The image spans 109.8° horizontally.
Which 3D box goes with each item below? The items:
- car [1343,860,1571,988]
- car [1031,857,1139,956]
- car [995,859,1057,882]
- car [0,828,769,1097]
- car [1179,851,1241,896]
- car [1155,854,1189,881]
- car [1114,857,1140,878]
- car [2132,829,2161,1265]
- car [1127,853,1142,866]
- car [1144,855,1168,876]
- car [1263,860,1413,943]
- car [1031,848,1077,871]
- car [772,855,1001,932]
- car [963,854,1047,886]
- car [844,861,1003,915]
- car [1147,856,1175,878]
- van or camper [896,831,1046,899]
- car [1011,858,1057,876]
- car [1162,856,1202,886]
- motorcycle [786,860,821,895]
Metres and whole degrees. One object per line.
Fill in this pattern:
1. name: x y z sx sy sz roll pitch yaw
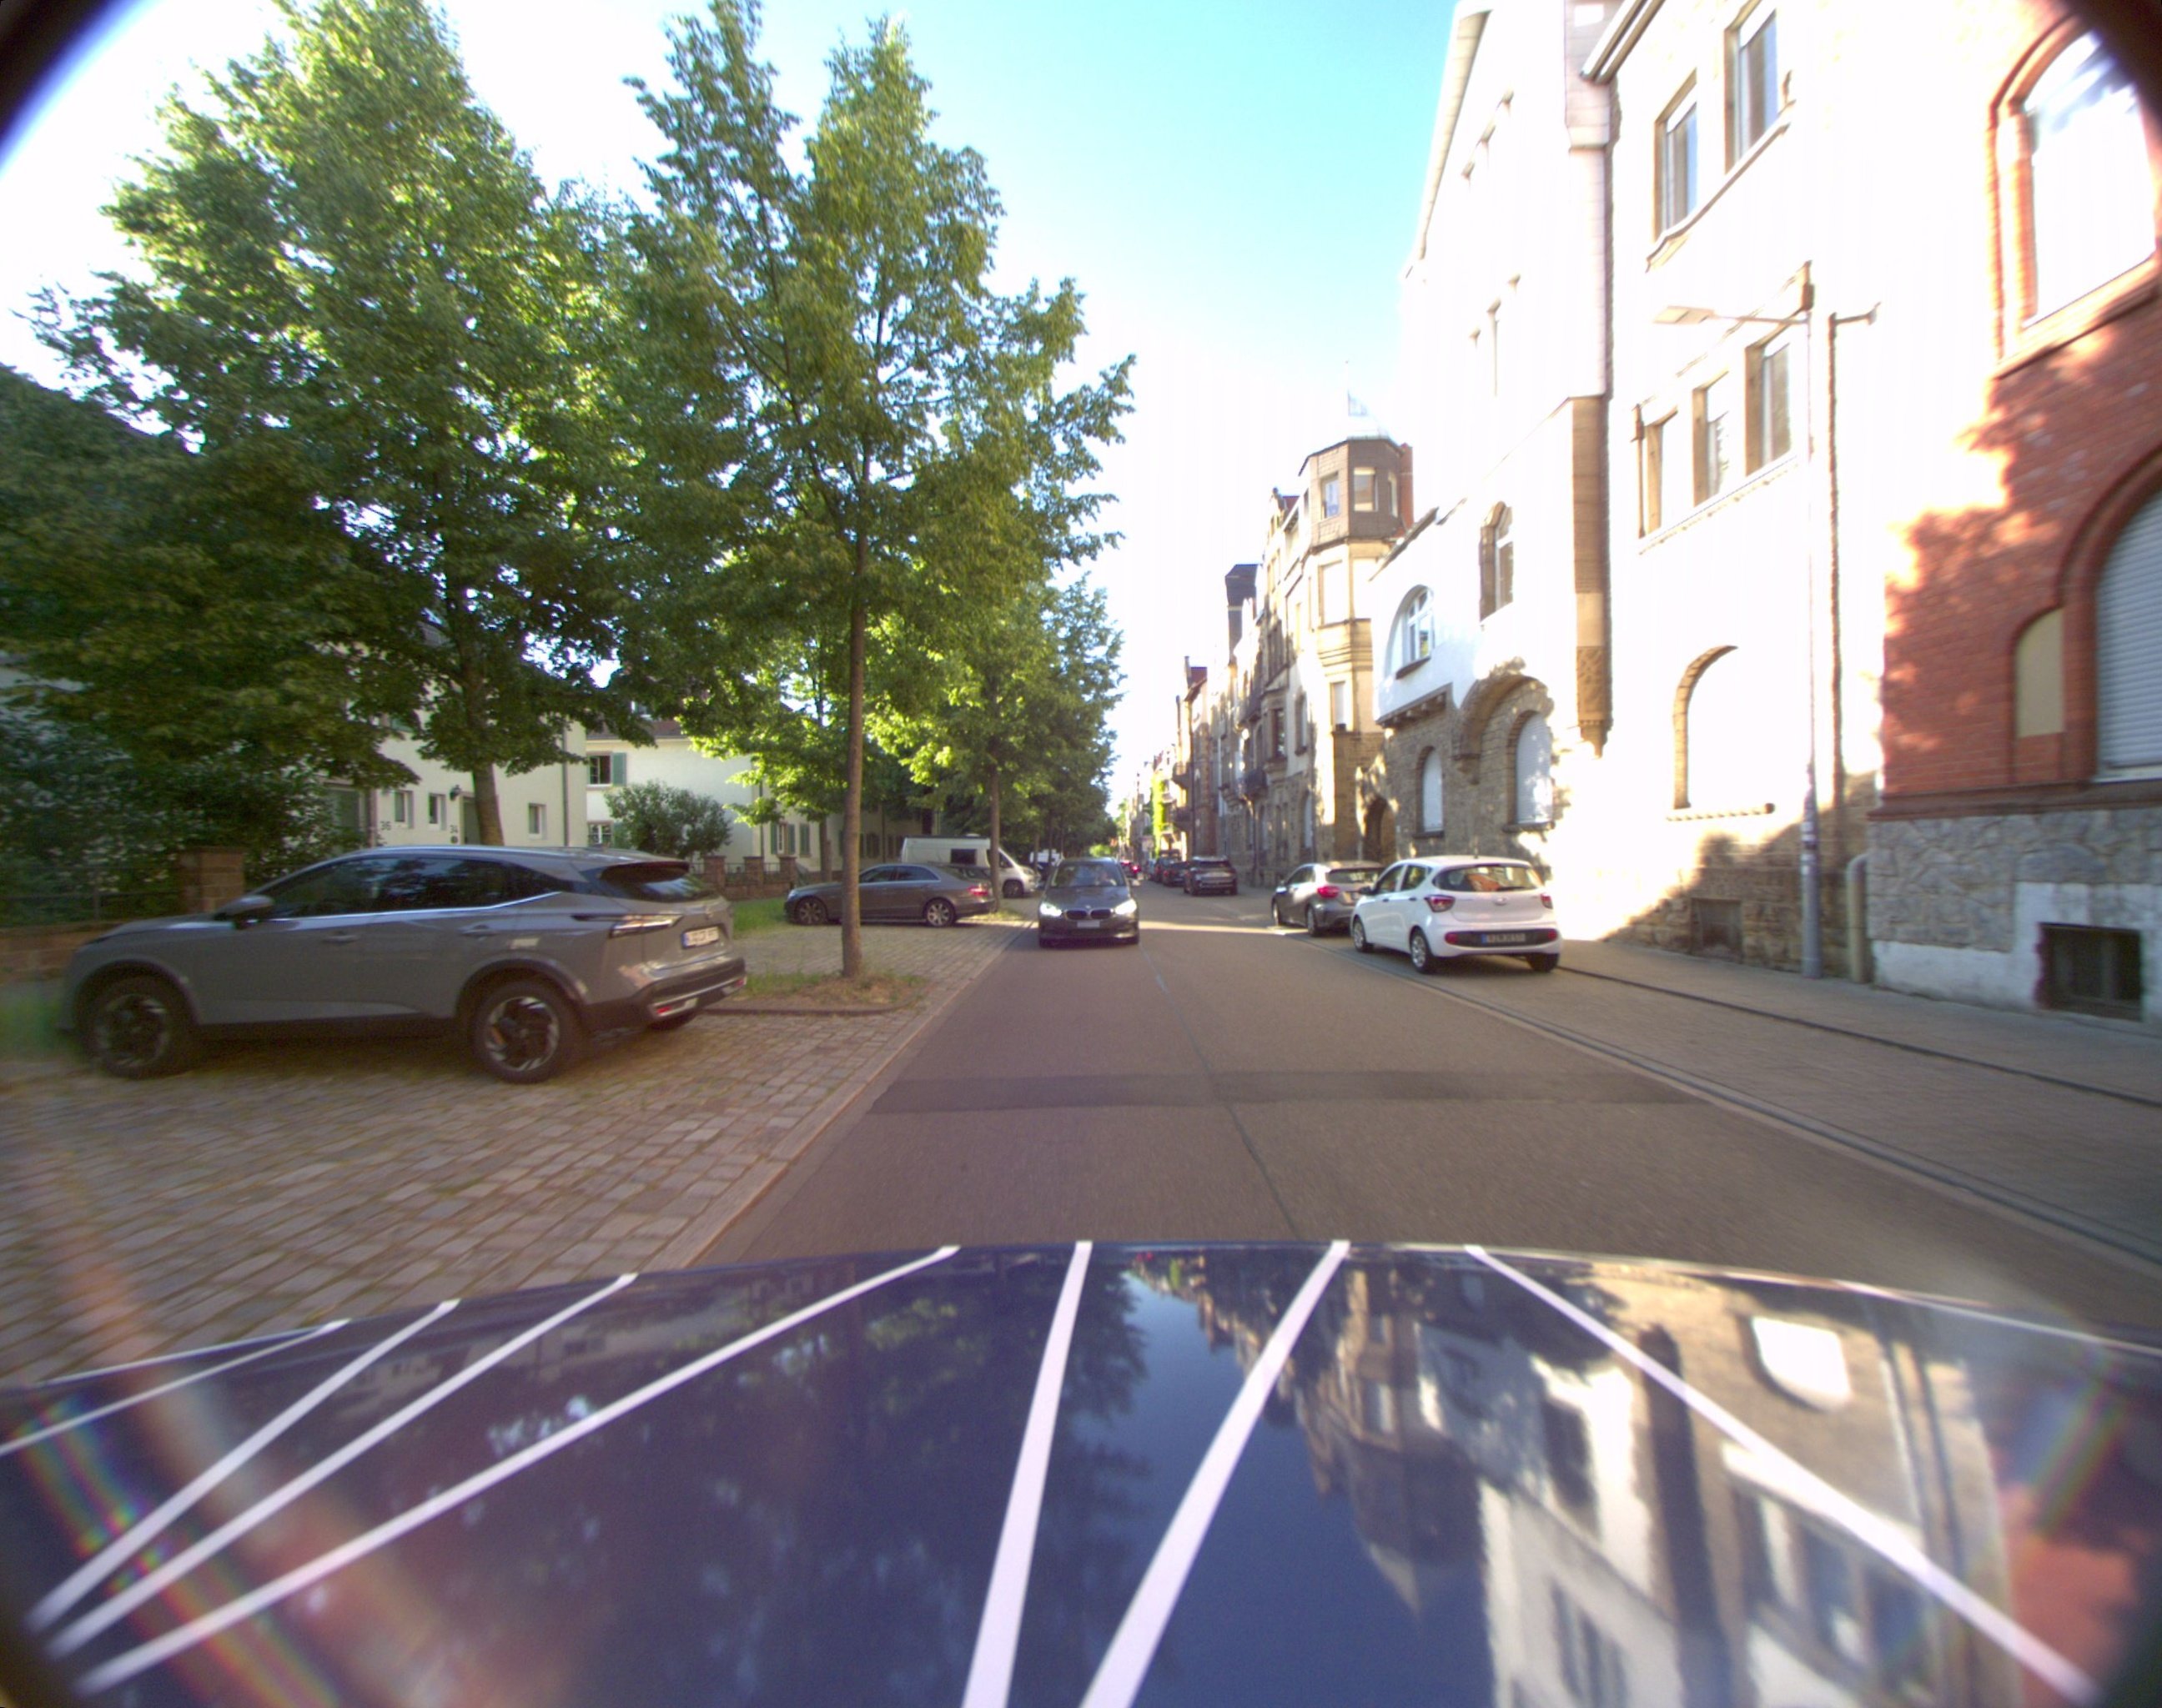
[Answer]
1. car: 5.092 0.852 10.834 1.570 1.461 3.592 -2 0 3
2. car: 0.127 0.897 14.978 1.753 1.596 4.551 -2 0 2
3. car: -3.671 1.092 50.798 3.997 1.543 1.555 0 0 1
4. car: -5.105 0.717 5.950 4.487 1.624 1.875 2 0 0
5. car: 5.349 0.785 32.090 1.881 1.707 4.340 -2 0 1
6. car: 5.978 0.847 50.268 1.774 1.658 4.212 -2 1 1
7. car: 3.436 0.981 57.018 1.631 1.469 3.759 0 0 -1
8. car: 4.983 0.723 0.806 1.673 1.671 4.349 -2 0 -1
9. car: 6.658 0.689 94.408 1.686 1.496 3.629 -5 -1 2
10. car: 6.029 0.962 61.296 1.633 1.496 3.856 -5 -1 2
11. car: 5.168 0.881 15.874 1.681 1.434 4.111 -2 0 0
12. car: -3.276 0.669 91.843 5.448 2.646 2.134 0 0 1
13. car: -4.407 0.875 17.790 4.850 1.530 1.894 2 0 -1
14. car: -4.301 0.925 43.546 4.606 1.706 2.000 1 0 -1
15. car: -4.793 1.023 23.535 4.486 1.427 1.828 2 0 1
16. car: 5.850 0.971 55.924 1.633 1.439 3.856 -5 -1 2
17. van or camper: -4.412 0.445 31.210 5.733 2.502 2.162 2 0 0
18. car: -4.079 1.114 66.316 3.998 1.503 1.572 0 0 -3
19. car: 5.779 0.931 43.819 1.774 1.493 4.211 -1 1 1
20. motorcycle: -11.906 0.982 32.673 0.660 1.398 2.016 -2 1 1
